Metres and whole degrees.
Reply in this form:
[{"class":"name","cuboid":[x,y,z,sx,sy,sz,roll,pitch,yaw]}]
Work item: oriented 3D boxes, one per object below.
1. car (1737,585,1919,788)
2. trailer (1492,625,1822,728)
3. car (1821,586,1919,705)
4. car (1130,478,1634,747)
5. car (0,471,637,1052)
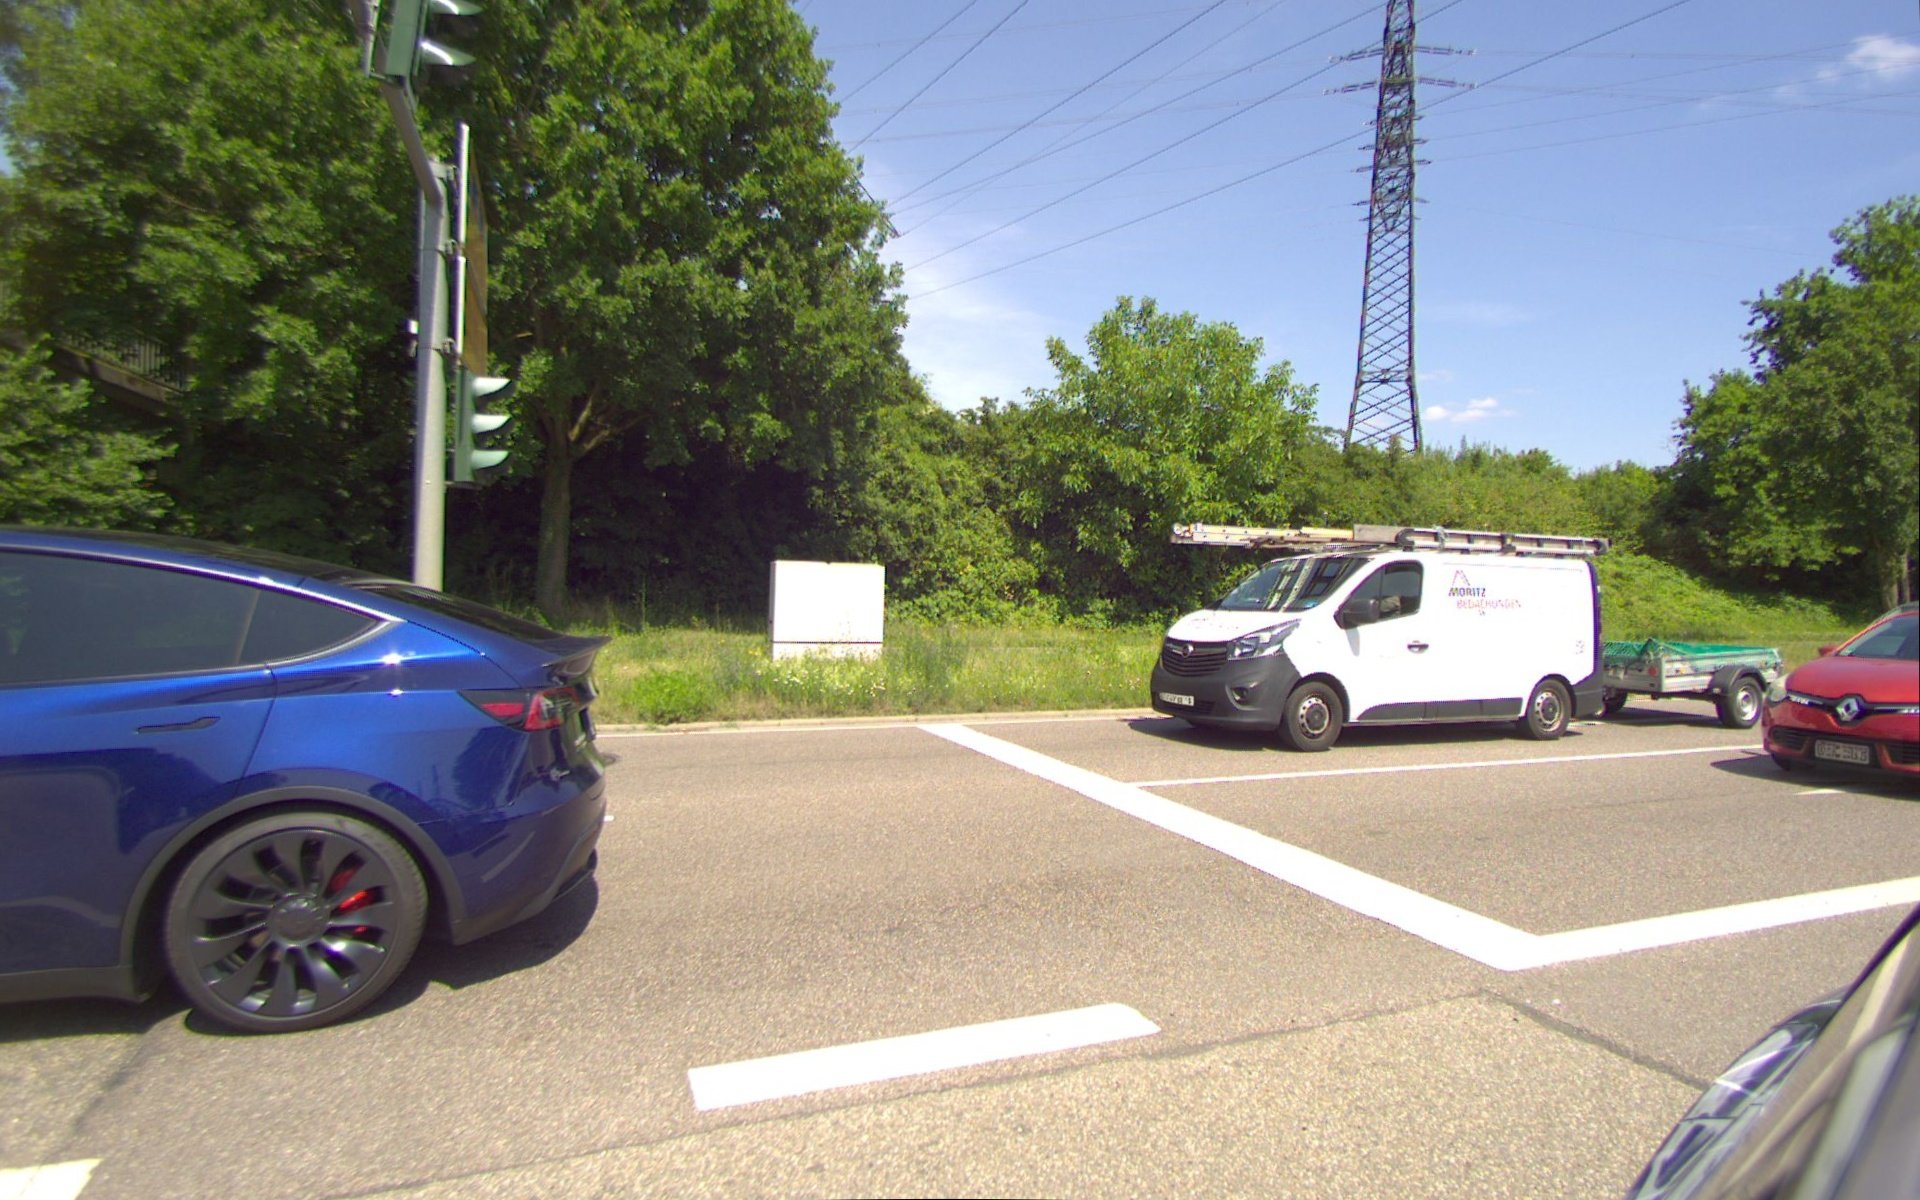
[{"class":"car","cuboid":[8.740,0.650,8.462,3.979,1.480,1.752,1,0,-22]},{"class":"trailer","cuboid":[8.338,0.854,12.152,3.254,1.019,1.715,1,1,-21]},{"class":"car","cuboid":[14.986,0.651,14.874,4.077,1.615,1.774,1,1,-21]},{"class":"car","cuboid":[4.486,0.117,10.759,4.968,2.379,1.943,1,0,-21]},{"class":"car","cuboid":[-3.549,0.443,3.606,4.425,1.665,1.910,1,0,-22]}]
